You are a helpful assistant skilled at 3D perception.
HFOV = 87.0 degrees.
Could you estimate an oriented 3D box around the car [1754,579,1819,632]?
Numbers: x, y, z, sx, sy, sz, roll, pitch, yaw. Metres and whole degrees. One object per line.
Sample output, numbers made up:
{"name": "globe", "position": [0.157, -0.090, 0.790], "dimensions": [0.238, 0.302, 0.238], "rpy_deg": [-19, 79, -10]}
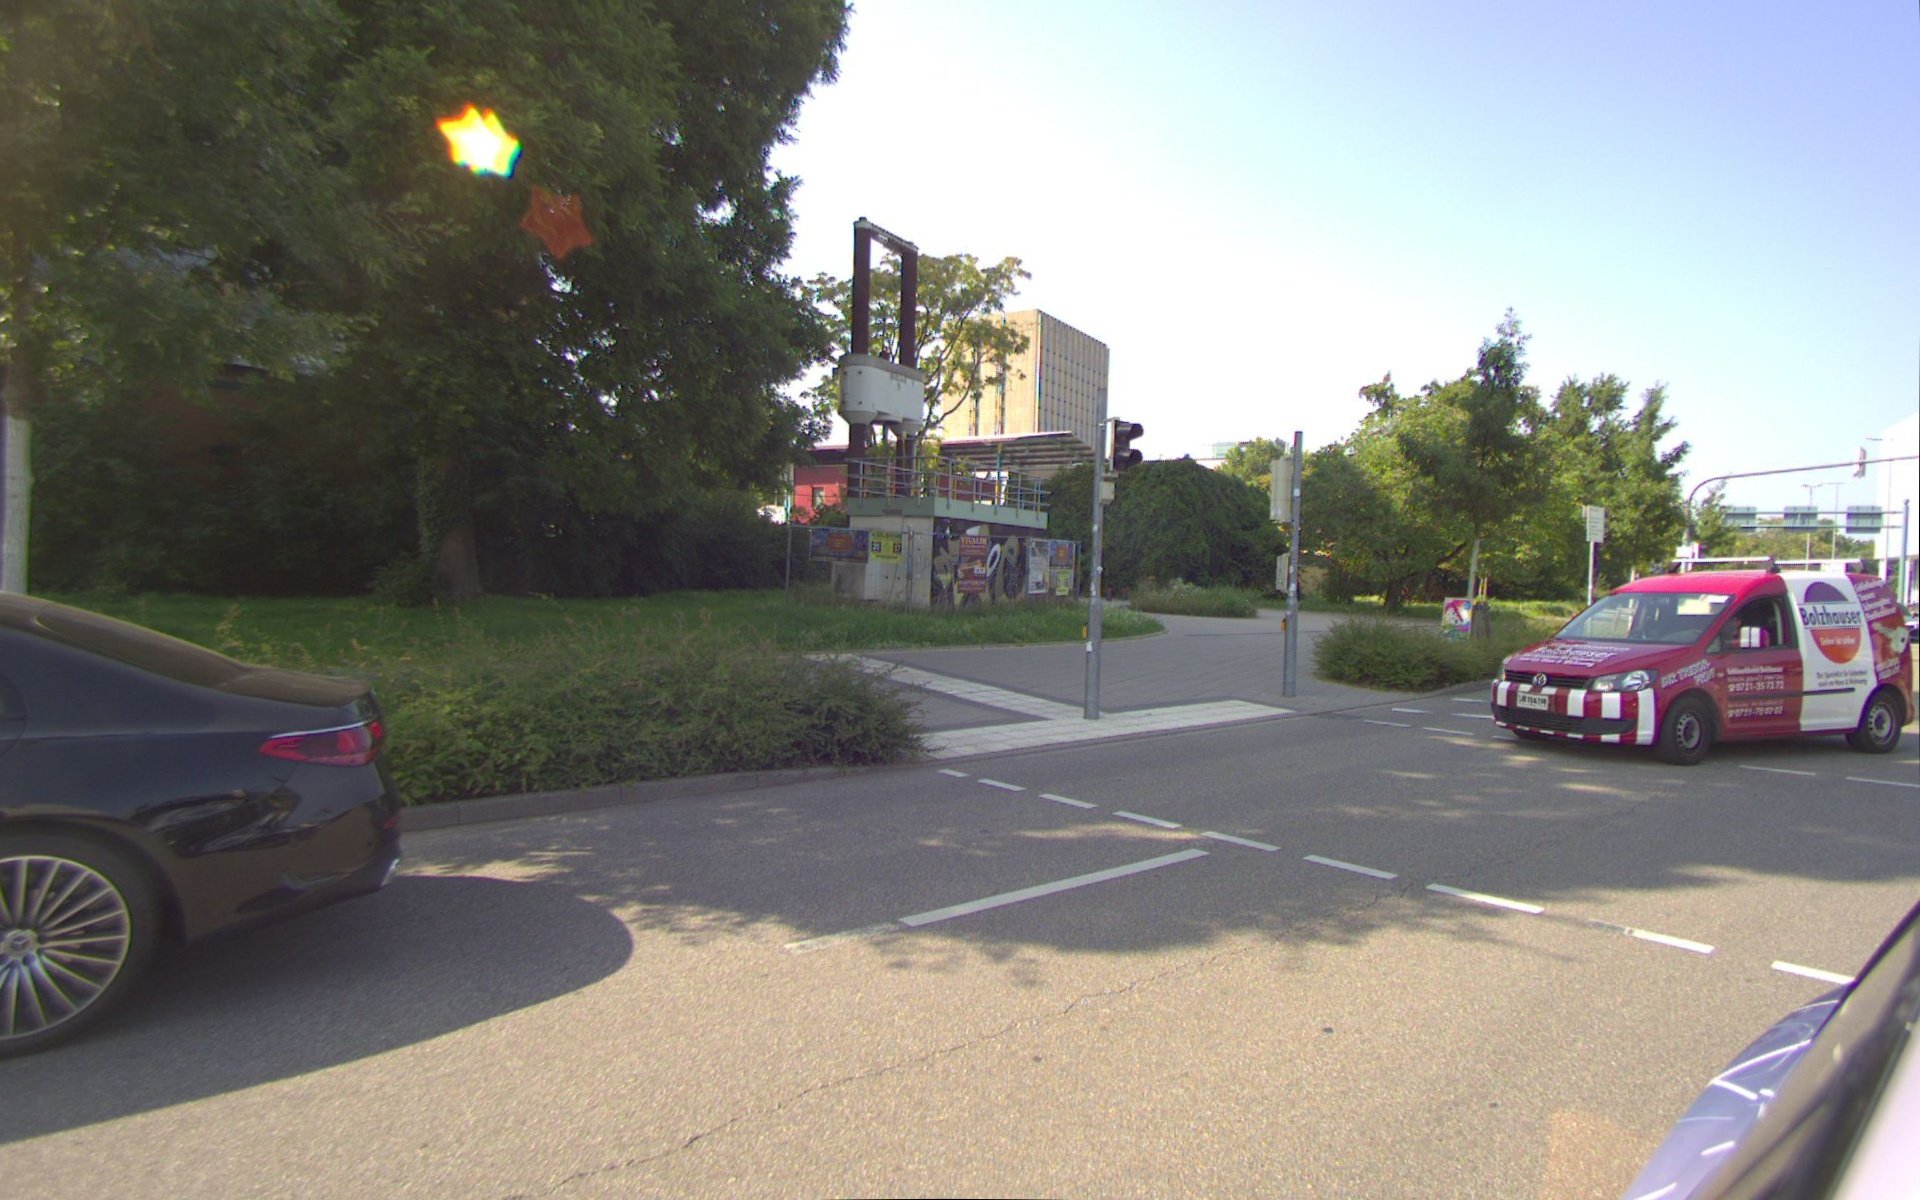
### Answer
{"name": "car", "position": [32.658, 0.164, 39.982], "dimensions": [1.839, 1.898, 4.902], "rpy_deg": [2, 2, 40]}

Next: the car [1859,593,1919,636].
{"name": "car", "position": [34.036, 0.478, 36.712], "dimensions": [1.903, 1.418, 4.849], "rpy_deg": [3, 2, 40]}

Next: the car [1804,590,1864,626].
{"name": "car", "position": [41.312, 0.334, 47.913], "dimensions": [1.991, 1.524, 4.371], "rpy_deg": [3, 2, 40]}

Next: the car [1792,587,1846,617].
{"name": "car", "position": [52.338, 0.097, 61.719], "dimensions": [1.920, 1.680, 4.243], "rpy_deg": [3, 2, 33]}

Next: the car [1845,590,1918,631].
{"name": "car", "position": [38.537, 0.396, 42.419], "dimensions": [1.991, 1.524, 4.371], "rpy_deg": [3, 2, 40]}

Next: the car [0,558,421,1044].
{"name": "car", "position": [-4.428, 0.582, 3.004], "dimensions": [4.783, 1.458, 1.825], "rpy_deg": [0, 1, -37]}

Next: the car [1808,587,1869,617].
{"name": "car", "position": [48.864, 0.088, 56.374], "dimensions": [1.920, 1.524, 4.243], "rpy_deg": [3, 2, 33]}

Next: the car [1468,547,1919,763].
{"name": "car", "position": [7.432, 0.463, 10.130], "dimensions": [4.187, 1.842, 1.742], "rpy_deg": [0, 1, -19]}
